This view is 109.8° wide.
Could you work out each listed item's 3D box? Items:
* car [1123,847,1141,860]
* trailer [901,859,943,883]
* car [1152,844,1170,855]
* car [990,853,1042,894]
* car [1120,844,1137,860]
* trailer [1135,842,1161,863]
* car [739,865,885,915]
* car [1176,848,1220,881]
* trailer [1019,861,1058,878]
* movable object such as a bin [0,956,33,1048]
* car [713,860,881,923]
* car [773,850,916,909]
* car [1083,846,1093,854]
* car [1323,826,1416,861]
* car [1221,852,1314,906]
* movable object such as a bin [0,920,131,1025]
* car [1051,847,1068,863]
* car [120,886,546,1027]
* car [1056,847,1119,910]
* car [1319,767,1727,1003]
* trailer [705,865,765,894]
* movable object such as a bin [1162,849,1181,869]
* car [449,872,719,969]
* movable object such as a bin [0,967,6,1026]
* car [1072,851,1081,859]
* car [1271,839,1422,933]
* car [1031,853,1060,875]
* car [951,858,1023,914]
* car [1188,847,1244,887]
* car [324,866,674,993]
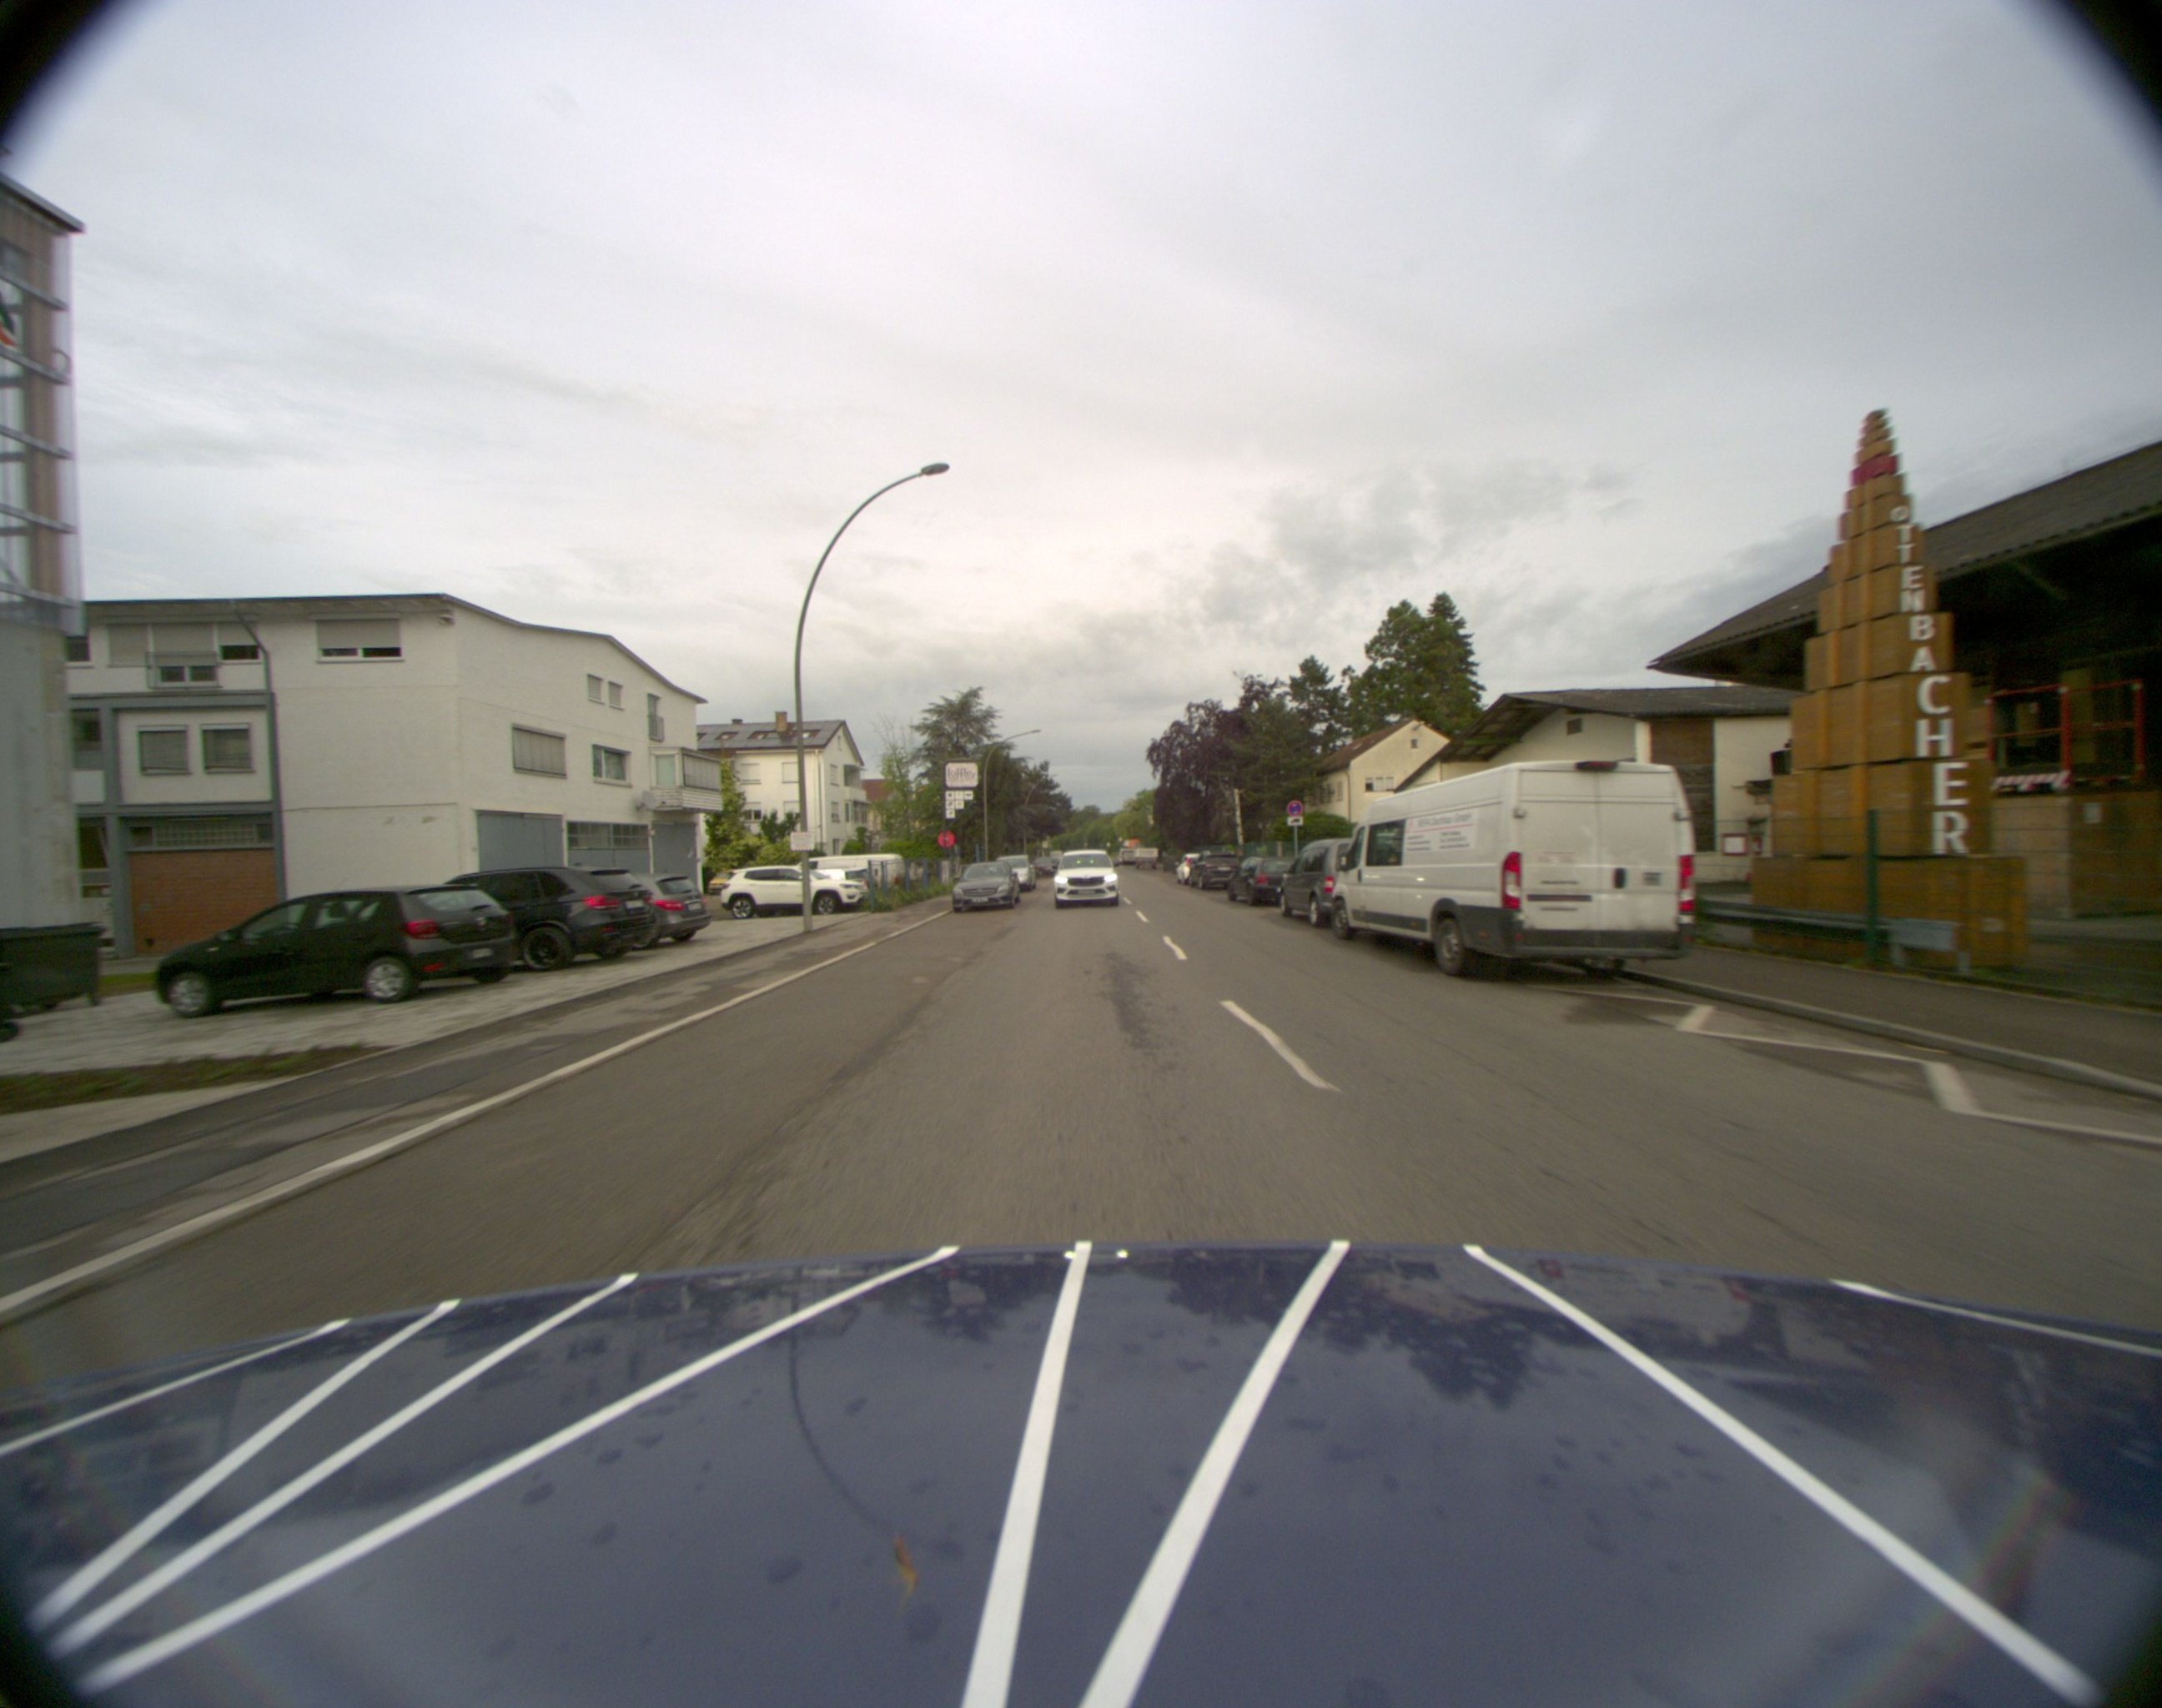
[{"bbox_3d":[5.987,-0.123,89.951,1.821,1.419,4.980,-1,1,1],"label":"car"},{"bbox_3d":[-10.015,1.036,48.069,1.619,1.268,3.892,-3,1,3],"label":"trailer"},{"bbox_3d":[11.227,-0.660,106.596,1.833,1.432,4.787,-3,1,-1],"label":"car"},{"bbox_3d":[-2.892,0.824,34.484,1.743,1.612,4.373,-3,1,2],"label":"car"},{"bbox_3d":[5.935,-0.311,95.388,1.898,1.881,5.209,-1,1,1],"label":"car"},{"bbox_3d":[6.056,-0.121,69.318,1.934,1.755,4.547,-3,1,1],"label":"trailer"},{"bbox_3d":[-9.262,1.233,26.450,4.331,1.371,1.850,-3,1,-1],"label":"car"},{"bbox_3d":[5.696,0.459,37.424,1.620,1.500,3.660,-1,1,1],"label":"car"},{"bbox_3d":[-2.832,1.023,52.175,2.179,0.892,6.635,-3,0,0],"label":"trailer"},{"bbox_3d":[-12.996,1.771,8.944,0.518,1.049,0.505,-3,1,1],"label":"movable object such as a bin"},{"bbox_3d":[-8.783,1.138,23.803,4.457,1.615,1.893,-3,1,-1],"label":"car"},{"bbox_3d":[-8.949,0.948,29.070,4.743,1.875,2.000,-3,1,0],"label":"car"},{"bbox_3d":[1.437,-0.794,158.637,1.898,1.678,4.230,-1,1,1],"label":"car"},{"bbox_3d":[18.024,-0.649,47.596,5.010,1.846,2.000,-3,1,2],"label":"car"},{"bbox_3d":[5.580,0.682,23.230,1.665,1.440,4.316,-1,1,-1],"label":"car"},{"bbox_3d":[-15.425,1.731,11.281,0.840,1.332,1.330,-3,1,1],"label":"movable object such as a bin"},{"bbox_3d":[-2.684,0.145,96.591,1.736,1.817,5.552,-4,1,1],"label":"car"},{"bbox_3d":[-9.993,1.327,10.403,3.976,1.481,1.833,-3,1,1],"label":"car"},{"bbox_3d":[0.115,0.670,23.298,1.692,1.651,3.998,-3,1,-2],"label":"car"},{"bbox_3d":[5.562,0.290,11.064,2.163,2.413,6.458,1,1,0],"label":"car"},{"bbox_3d":[-21.270,1.531,46.883,1.644,1.456,4.094,-3,1,1],"label":"trailer"},{"bbox_3d":[6.415,0.332,54.043,1.103,1.303,1.425,-3,1,0],"label":"movable object such as a bin"},{"bbox_3d":[-10.084,1.316,15.673,4.254,1.527,1.811,-4,1,0],"label":"car"},{"bbox_3d":[-15.446,1.753,9.928,0.840,1.332,1.285,-3,1,1],"label":"movable object such as a bin"},{"bbox_3d":[-0.913,0.197,153.016,1.743,1.458,4.544,-3,1,-1],"label":"car"},{"bbox_3d":[5.643,0.582,16.787,1.774,1.758,4.445,1,1,1],"label":"car"},{"bbox_3d":[-2.729,0.778,58.816,1.744,1.425,4.648,-5,1,2],"label":"car"},{"bbox_3d":[-2.899,0.943,24.332,1.743,1.458,4.544,-3,1,-1],"label":"car"},{"bbox_3d":[5.717,0.502,32.473,1.665,1.575,3.915,0,1,-1],"label":"car"},{"bbox_3d":[-9.607,1.190,12.862,4.238,1.665,1.980,-3,1,-2],"label":"car"}]
